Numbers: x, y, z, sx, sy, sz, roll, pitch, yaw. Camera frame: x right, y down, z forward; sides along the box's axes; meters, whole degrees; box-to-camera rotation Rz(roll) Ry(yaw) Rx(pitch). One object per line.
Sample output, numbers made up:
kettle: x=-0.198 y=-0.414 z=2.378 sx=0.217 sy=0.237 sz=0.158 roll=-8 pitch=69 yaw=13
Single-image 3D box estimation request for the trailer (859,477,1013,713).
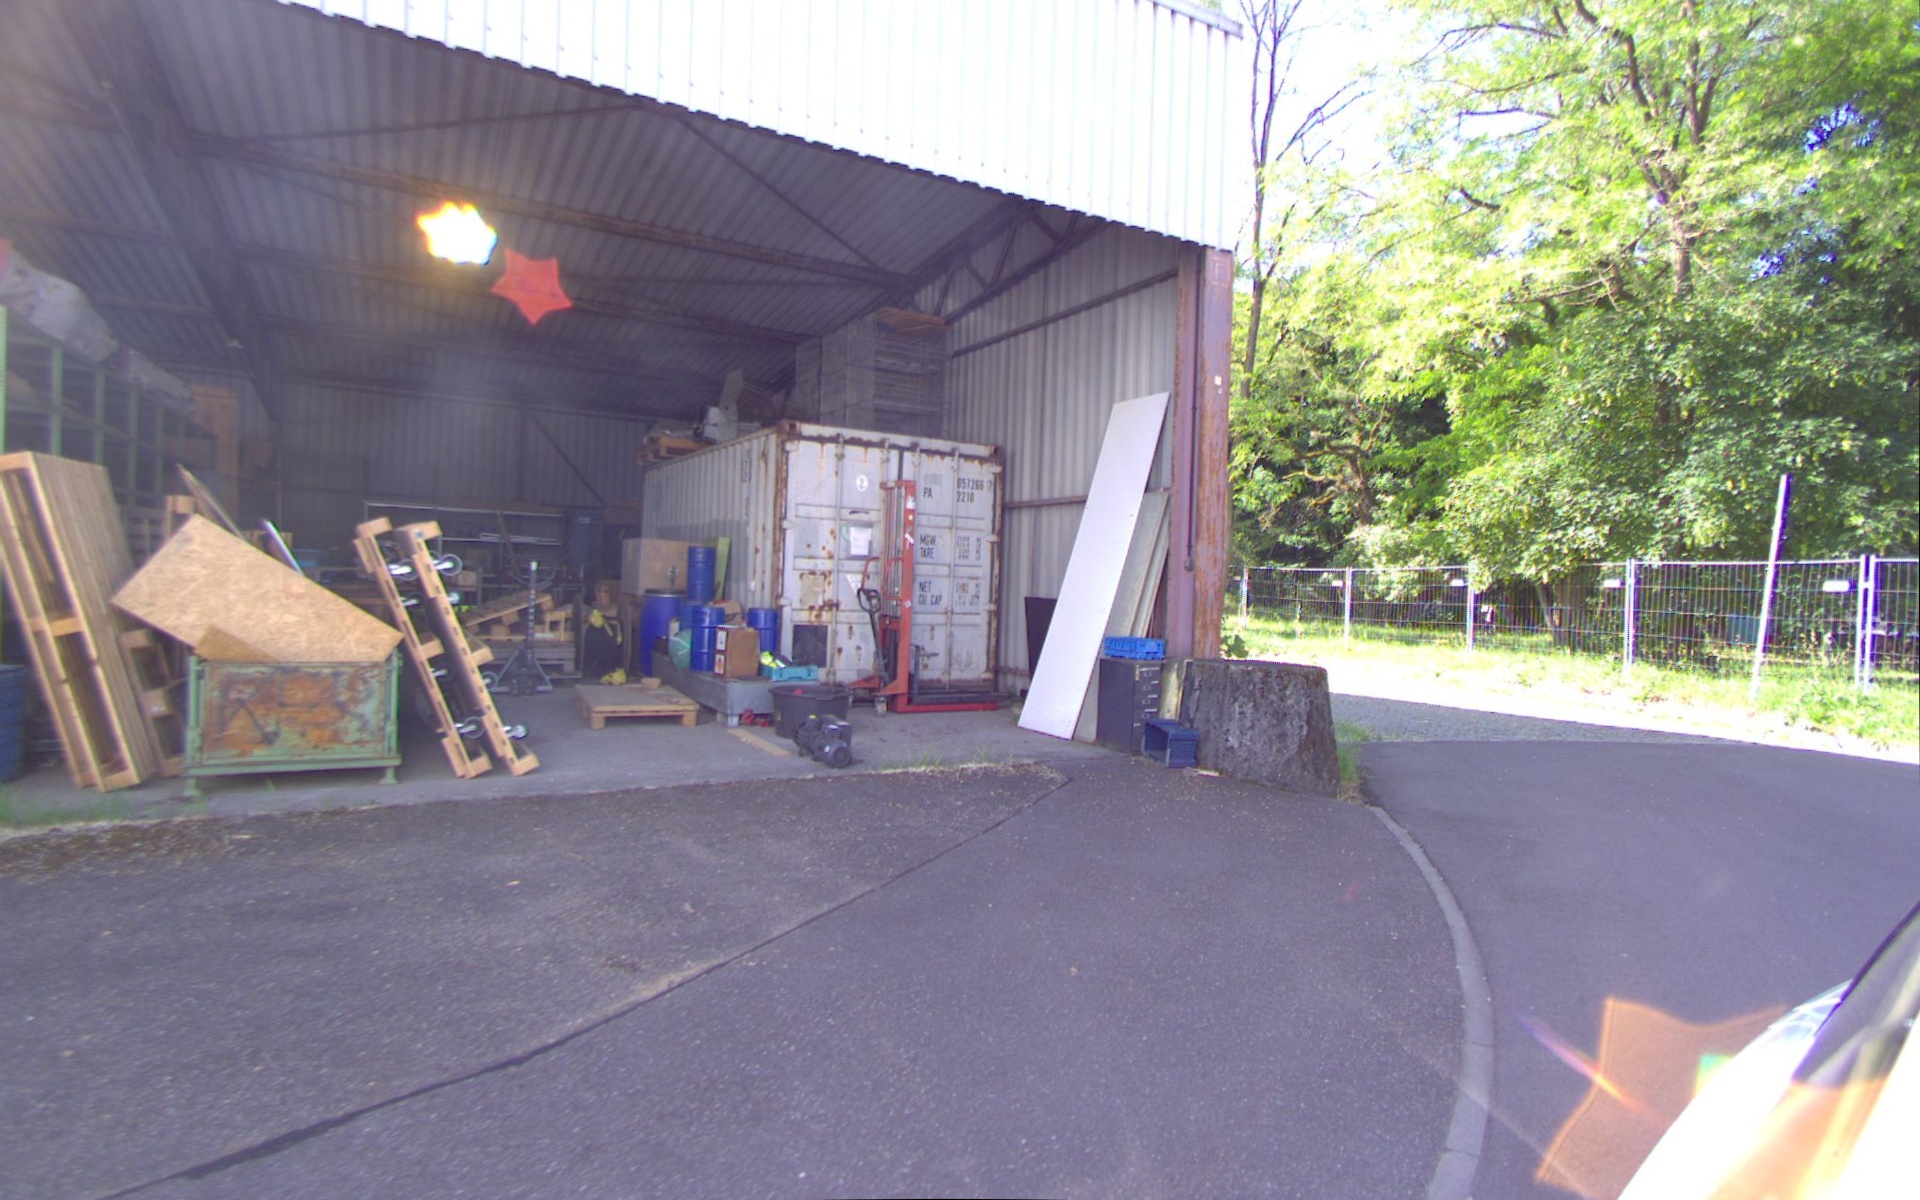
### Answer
trailer: x=-0.213 y=-0.018 z=9.557 sx=1.258 sy=2.094 sz=0.582 roll=4 pitch=-2 yaw=-33
